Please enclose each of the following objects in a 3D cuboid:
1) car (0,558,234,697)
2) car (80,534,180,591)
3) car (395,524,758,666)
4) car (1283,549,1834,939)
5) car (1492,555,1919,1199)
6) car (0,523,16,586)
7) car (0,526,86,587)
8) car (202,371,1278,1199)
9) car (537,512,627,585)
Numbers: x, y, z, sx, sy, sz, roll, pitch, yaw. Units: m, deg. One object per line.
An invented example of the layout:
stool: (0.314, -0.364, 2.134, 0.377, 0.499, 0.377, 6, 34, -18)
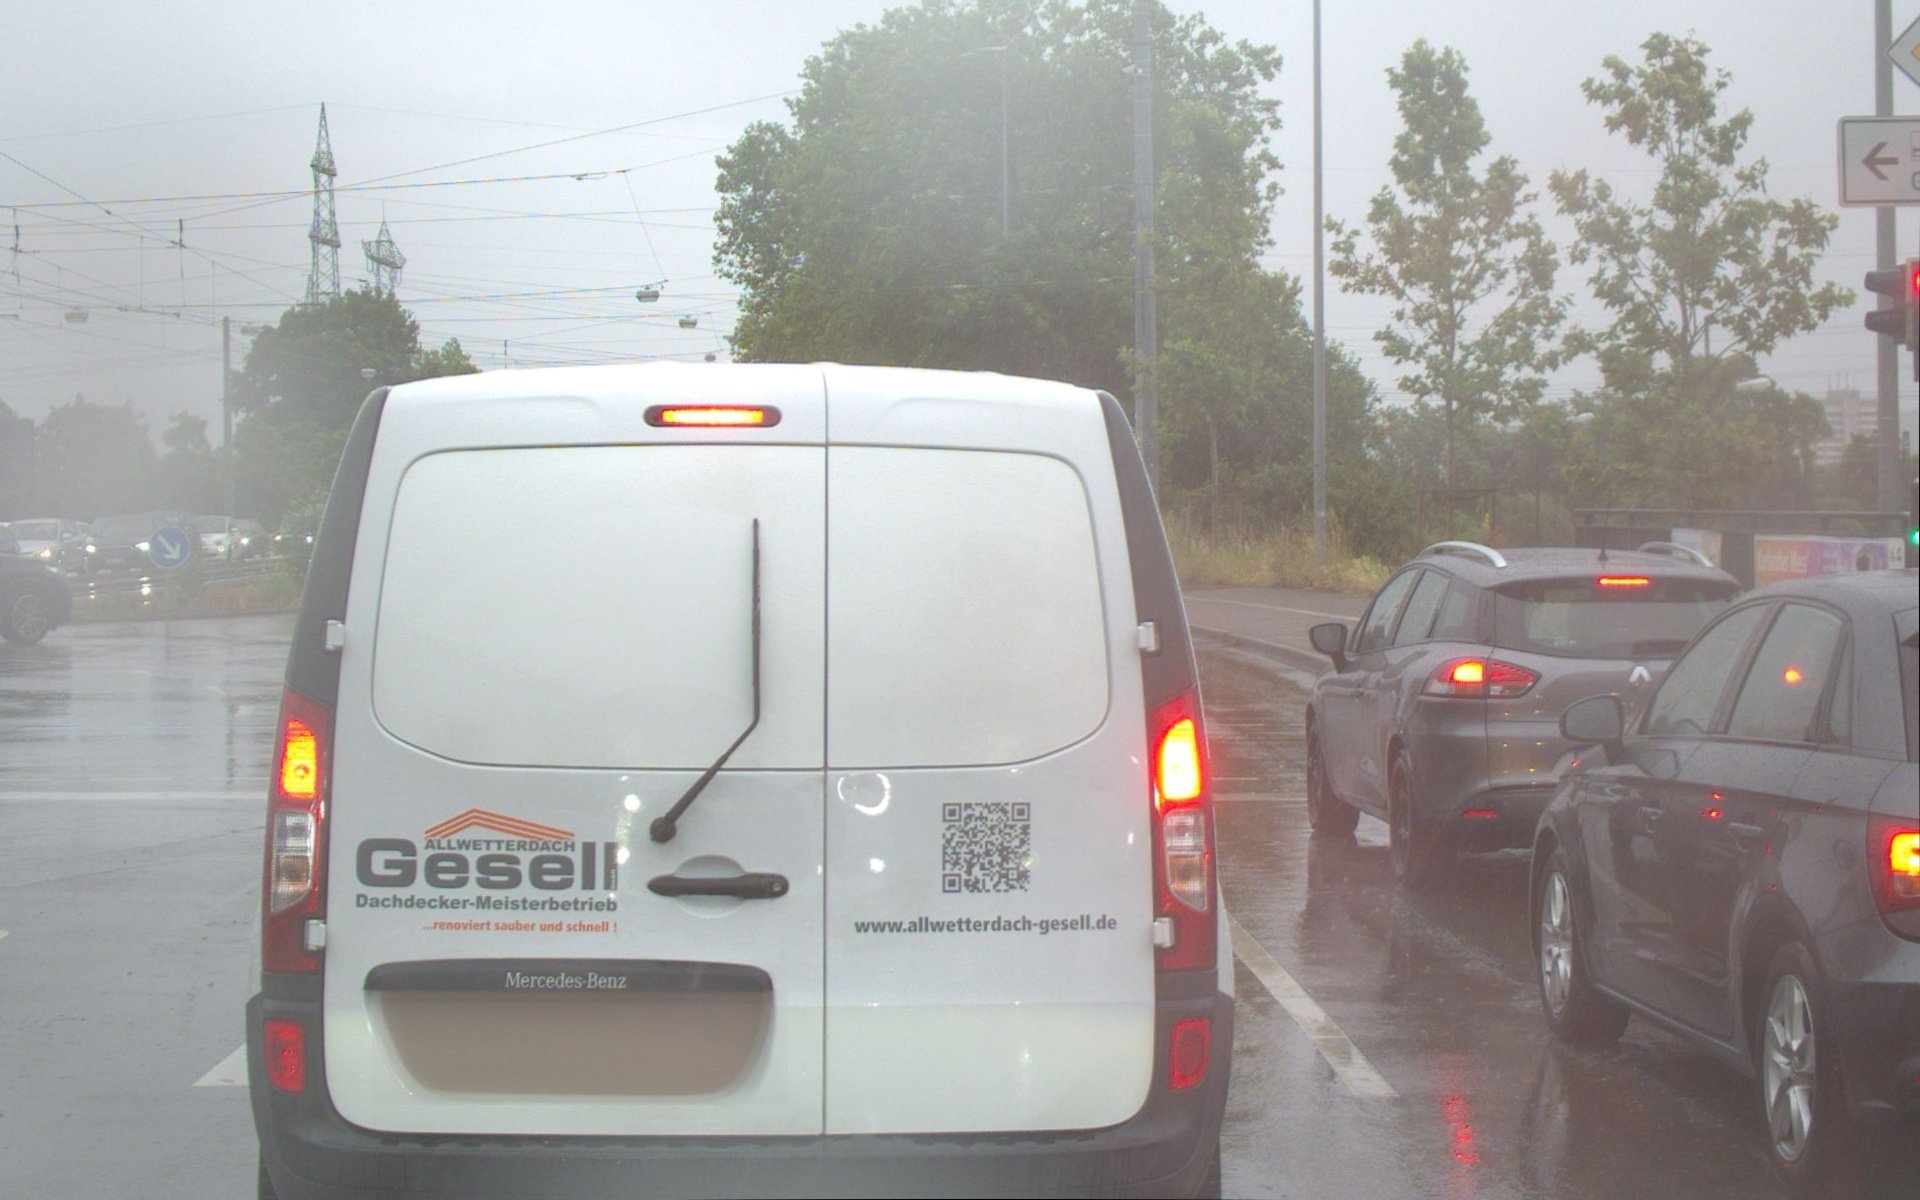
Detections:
car: (-10.782, 0.279, 39.856, 4.493, 1.496, 1.715, 2, 0, -15)
car: (-21.991, -0.973, 91.202, 1.710, 1.421, 3.809, 2, 0, -1)
car: (-4.381, -0.032, 39.856, 1.819, 1.496, 4.264, 2, 0, 34)
car: (2.549, 0.541, 15.528, 1.684, 1.503, 3.921, 1, 1, -1)
car: (2.524, 0.585, 8.772, 1.597, 1.362, 3.631, -1, 0, -3)
car: (-22.538, -1.066, 77.398, 1.559, 1.421, 3.569, 2, 0, -1)
car: (-22.557, -1.053, 83.887, 1.559, 1.421, 3.569, 2, 0, -1)
car: (-0.504, 0.440, 7.740, 1.754, 1.744, 4.170, 1, 2, -4)
car: (-9.200, -1.235, 84.052, 1.947, 1.656, 4.465, 2, 0, -4)
